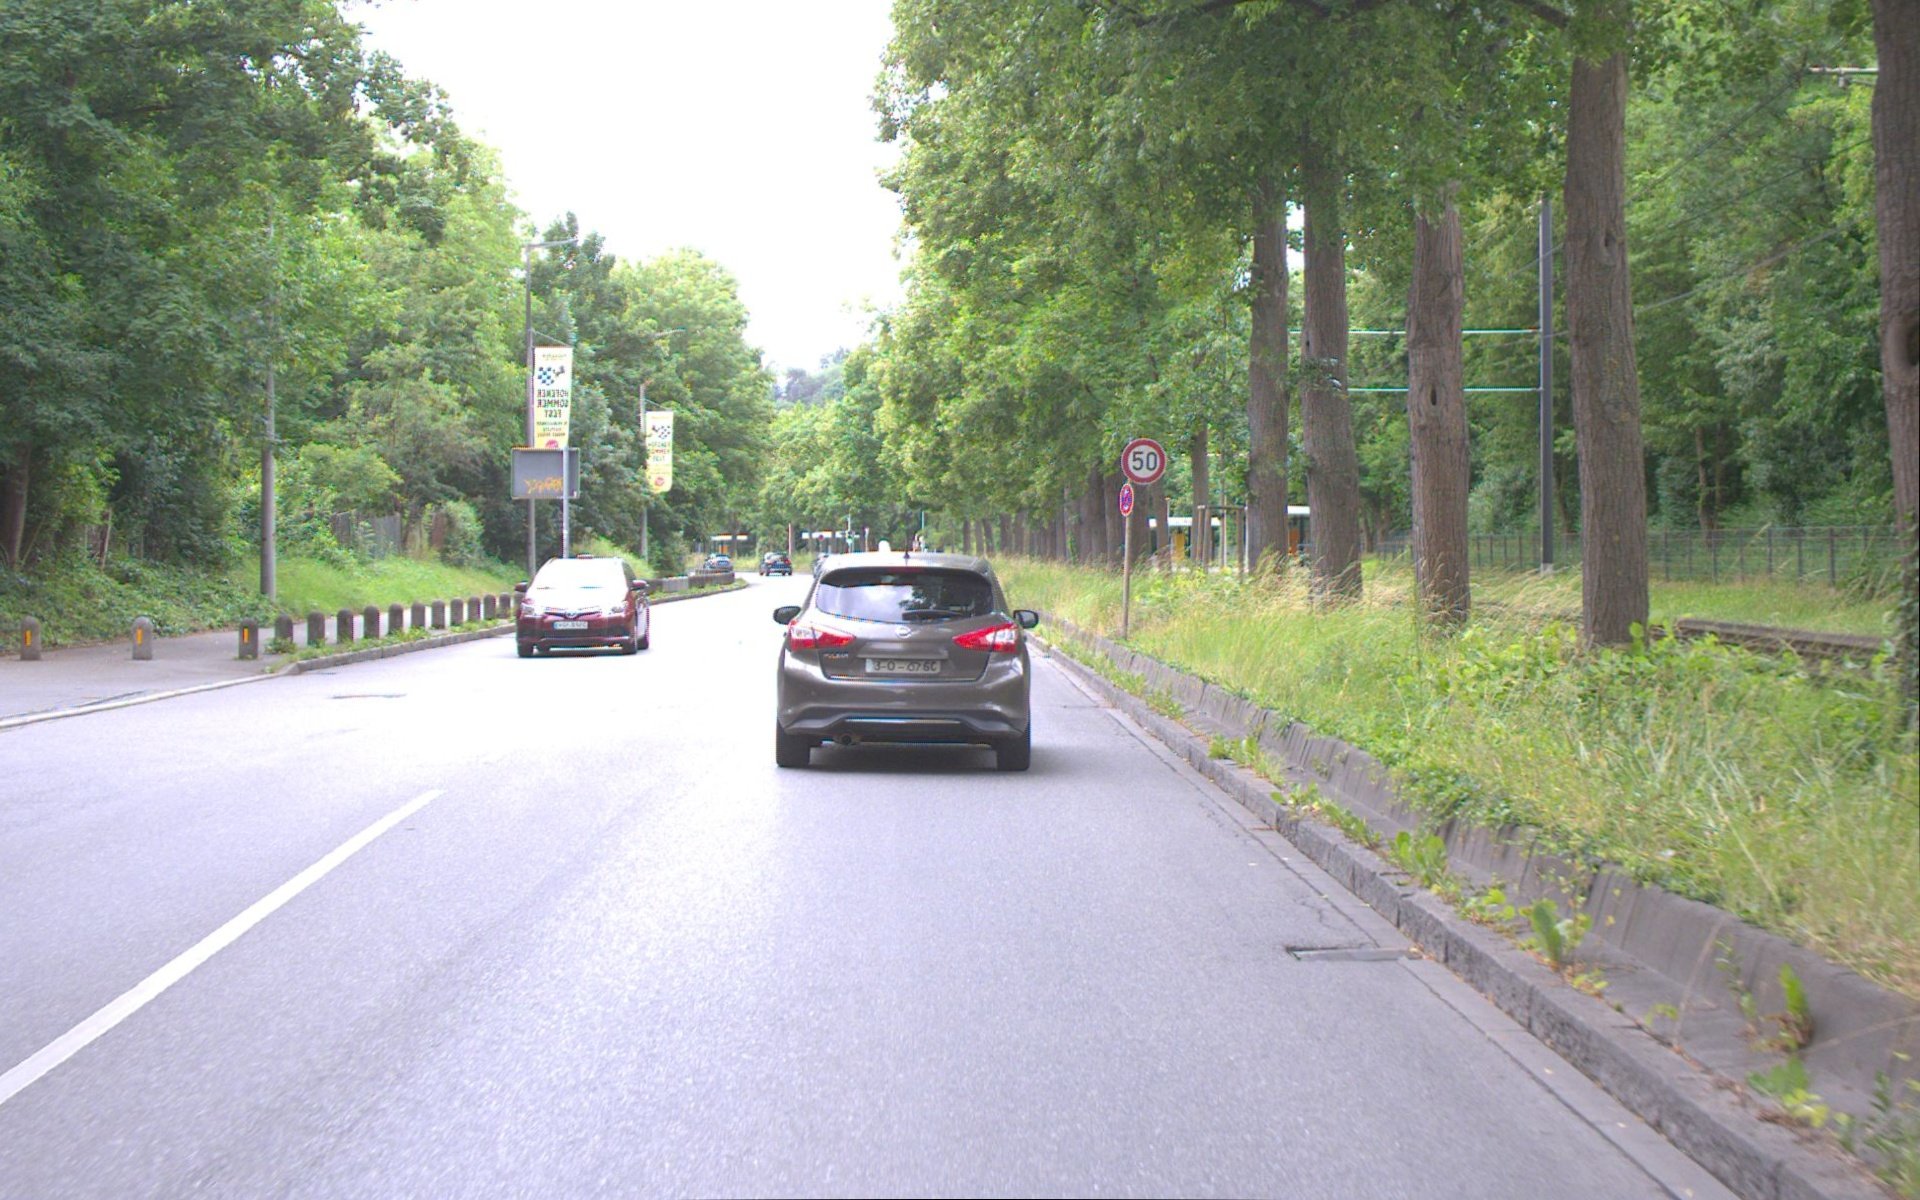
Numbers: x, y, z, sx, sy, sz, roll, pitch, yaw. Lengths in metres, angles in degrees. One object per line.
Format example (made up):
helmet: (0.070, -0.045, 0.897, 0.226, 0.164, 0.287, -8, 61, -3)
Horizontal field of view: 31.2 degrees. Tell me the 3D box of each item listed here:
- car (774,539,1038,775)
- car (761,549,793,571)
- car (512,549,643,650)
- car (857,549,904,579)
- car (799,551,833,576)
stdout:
car: (-0.404, 0.356, 24.841, 1.730, 1.532, 3.552, 2, 1, -1)
car: (-12.901, -2.815, 242.436, 1.561, 1.436, 3.553, 1, 1, -13)
car: (-5.702, -0.031, 51.670, 1.716, 1.423, 4.197, -1, 1, -3)
car: (-4.088, -1.856, 175.737, 1.561, 1.436, 3.553, 1, 1, -15)
car: (-8.861, -2.255, 211.517, 1.561, 1.436, 3.553, 1, 1, -11)
